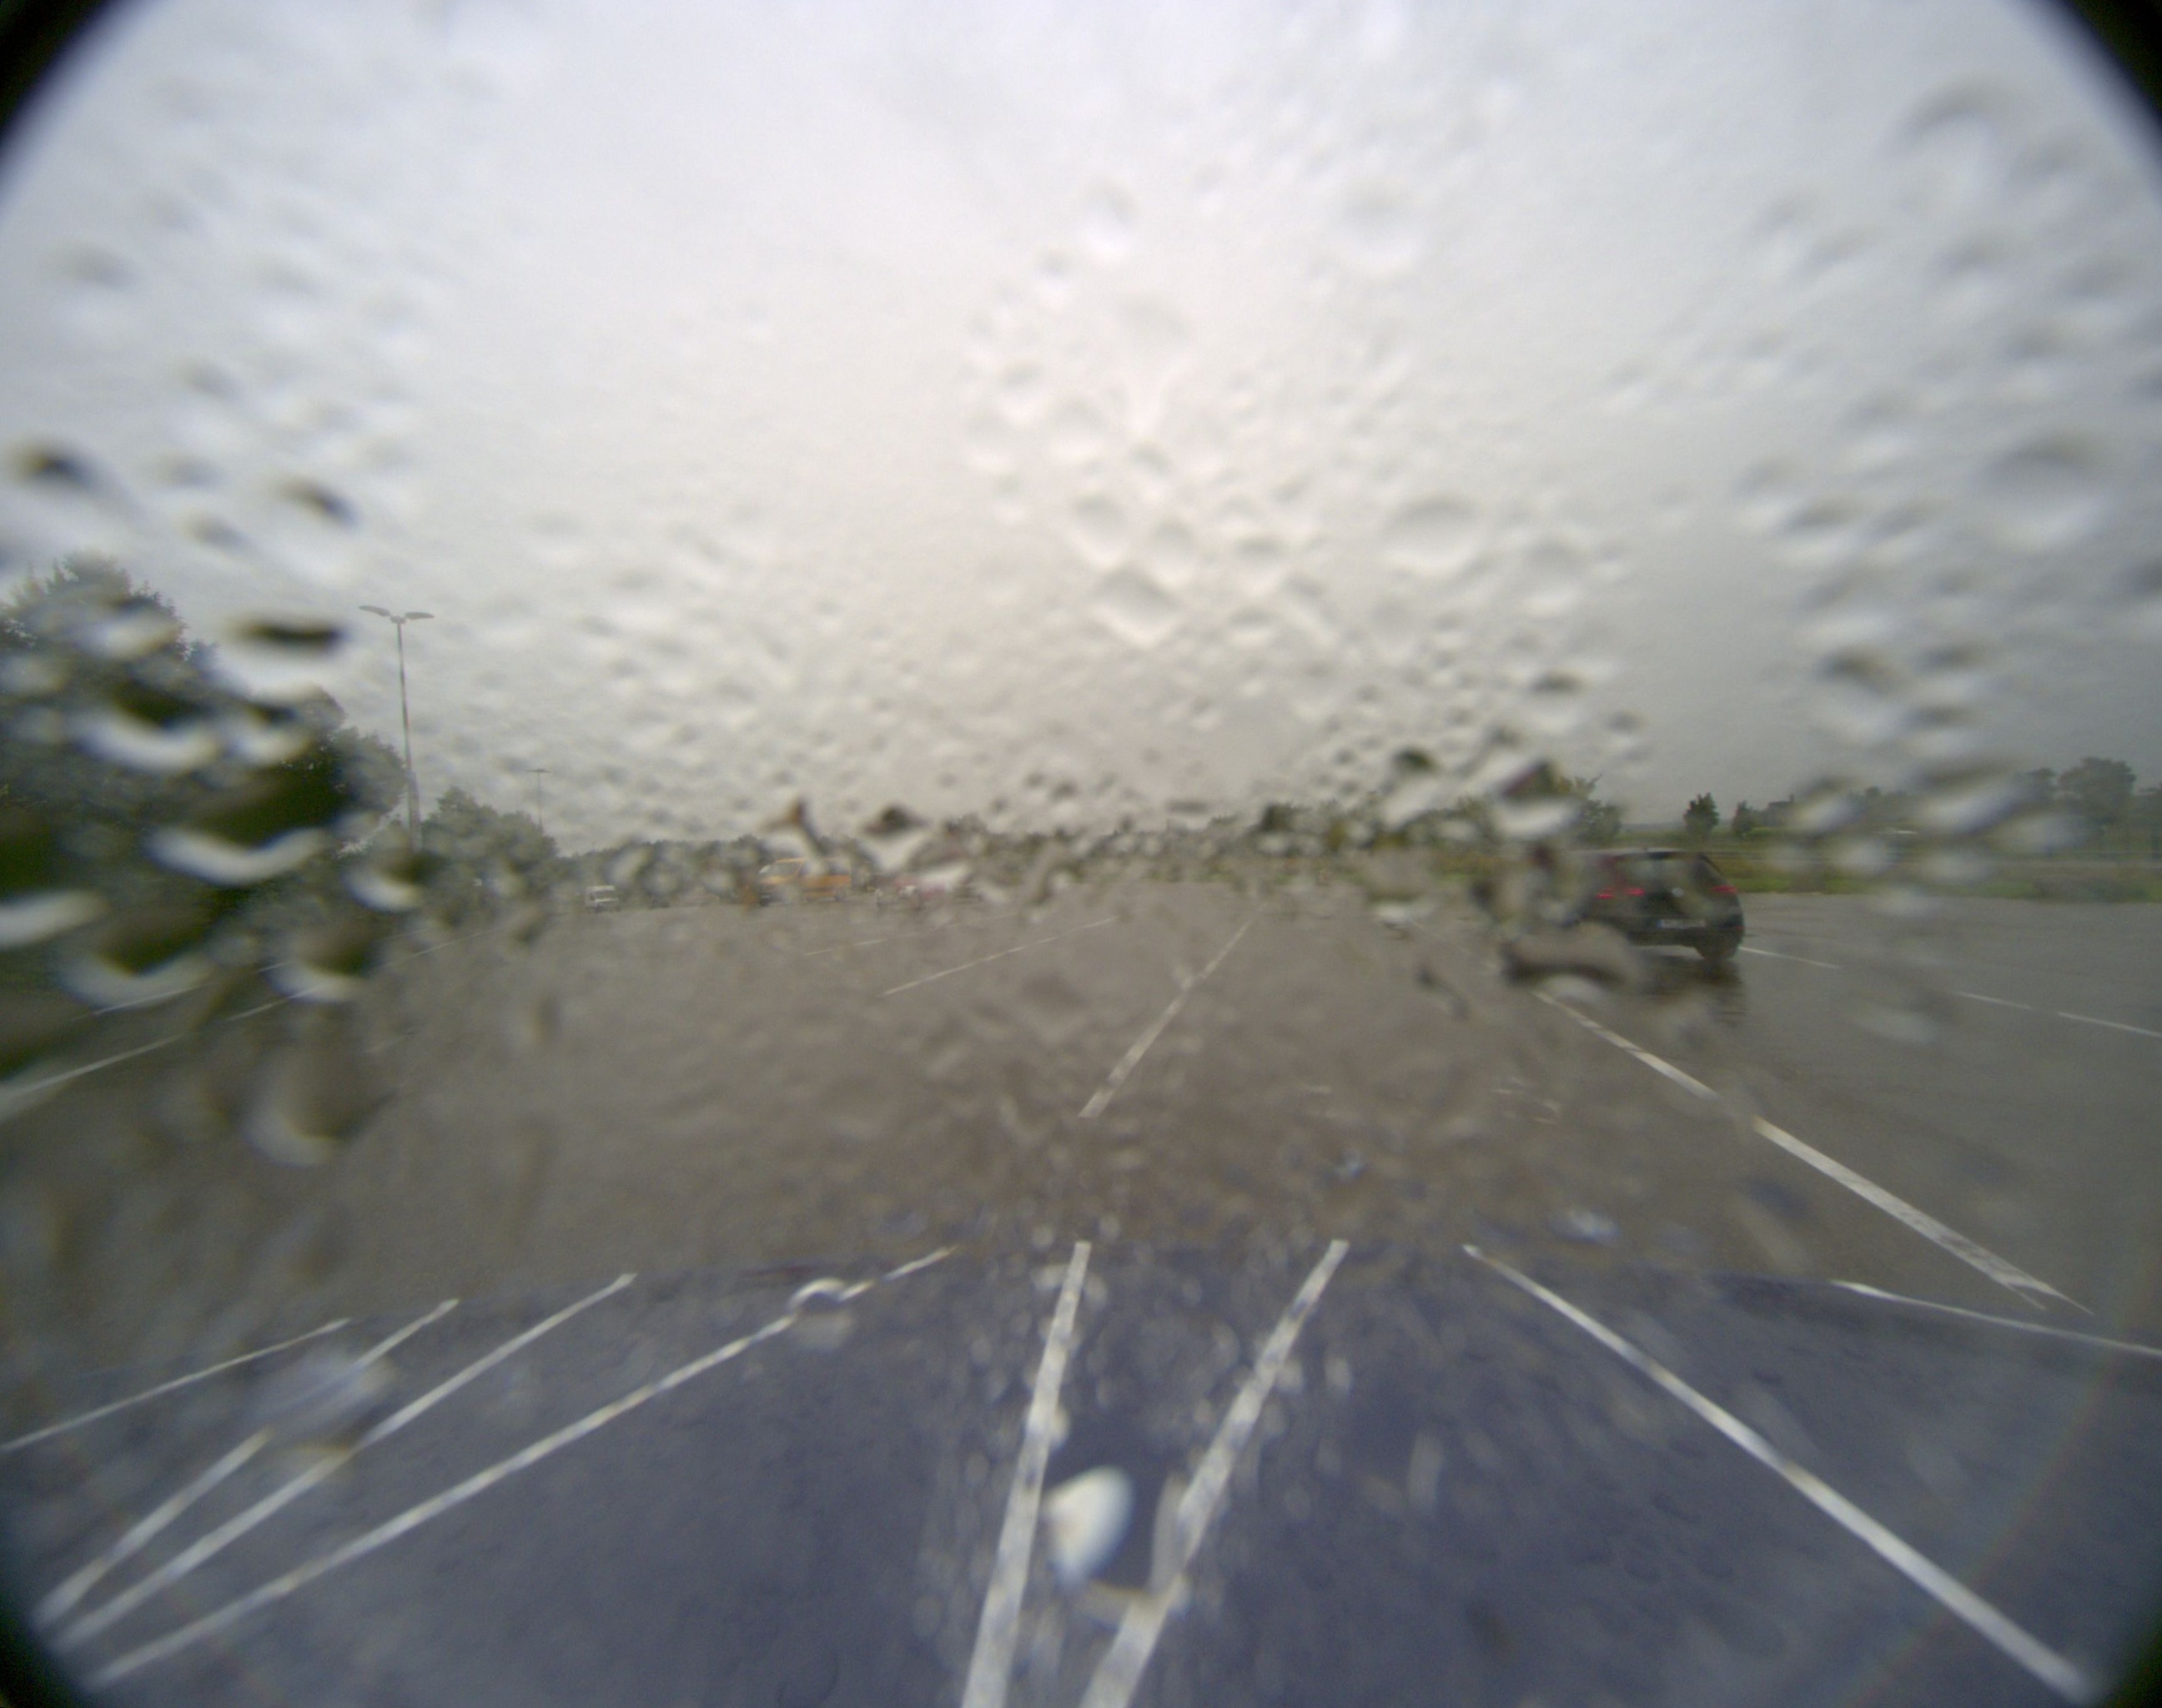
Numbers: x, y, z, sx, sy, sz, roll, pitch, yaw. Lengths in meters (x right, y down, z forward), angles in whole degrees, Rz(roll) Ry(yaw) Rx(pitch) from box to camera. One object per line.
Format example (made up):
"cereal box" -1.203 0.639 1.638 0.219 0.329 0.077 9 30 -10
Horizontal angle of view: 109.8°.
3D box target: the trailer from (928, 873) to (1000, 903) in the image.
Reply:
"trailer" -4.680 1.357 30.803 1.585 1.061 3.035 -3 -1 20

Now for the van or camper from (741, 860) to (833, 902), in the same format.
"van or camper" -20.468 1.800 53.378 1.996 2.700 7.077 0 0 17

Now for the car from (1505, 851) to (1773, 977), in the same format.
"car" 7.599 0.706 10.881 1.776 1.425 4.083 -2 0 16

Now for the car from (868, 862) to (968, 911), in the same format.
"car" -5.776 1.127 27.406 1.546 1.546 4.062 -2 0 20

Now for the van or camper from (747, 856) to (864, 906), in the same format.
"van or camper" -13.814 1.273 38.688 2.130 2.233 6.426 -2 0 17

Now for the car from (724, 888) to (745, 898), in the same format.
"car" -41.526 4.634 91.052 1.712 0.994 3.758 -2 0 -33

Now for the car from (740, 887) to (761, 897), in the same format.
"car" -39.991 4.568 92.027 1.712 0.994 3.758 -2 0 -33
